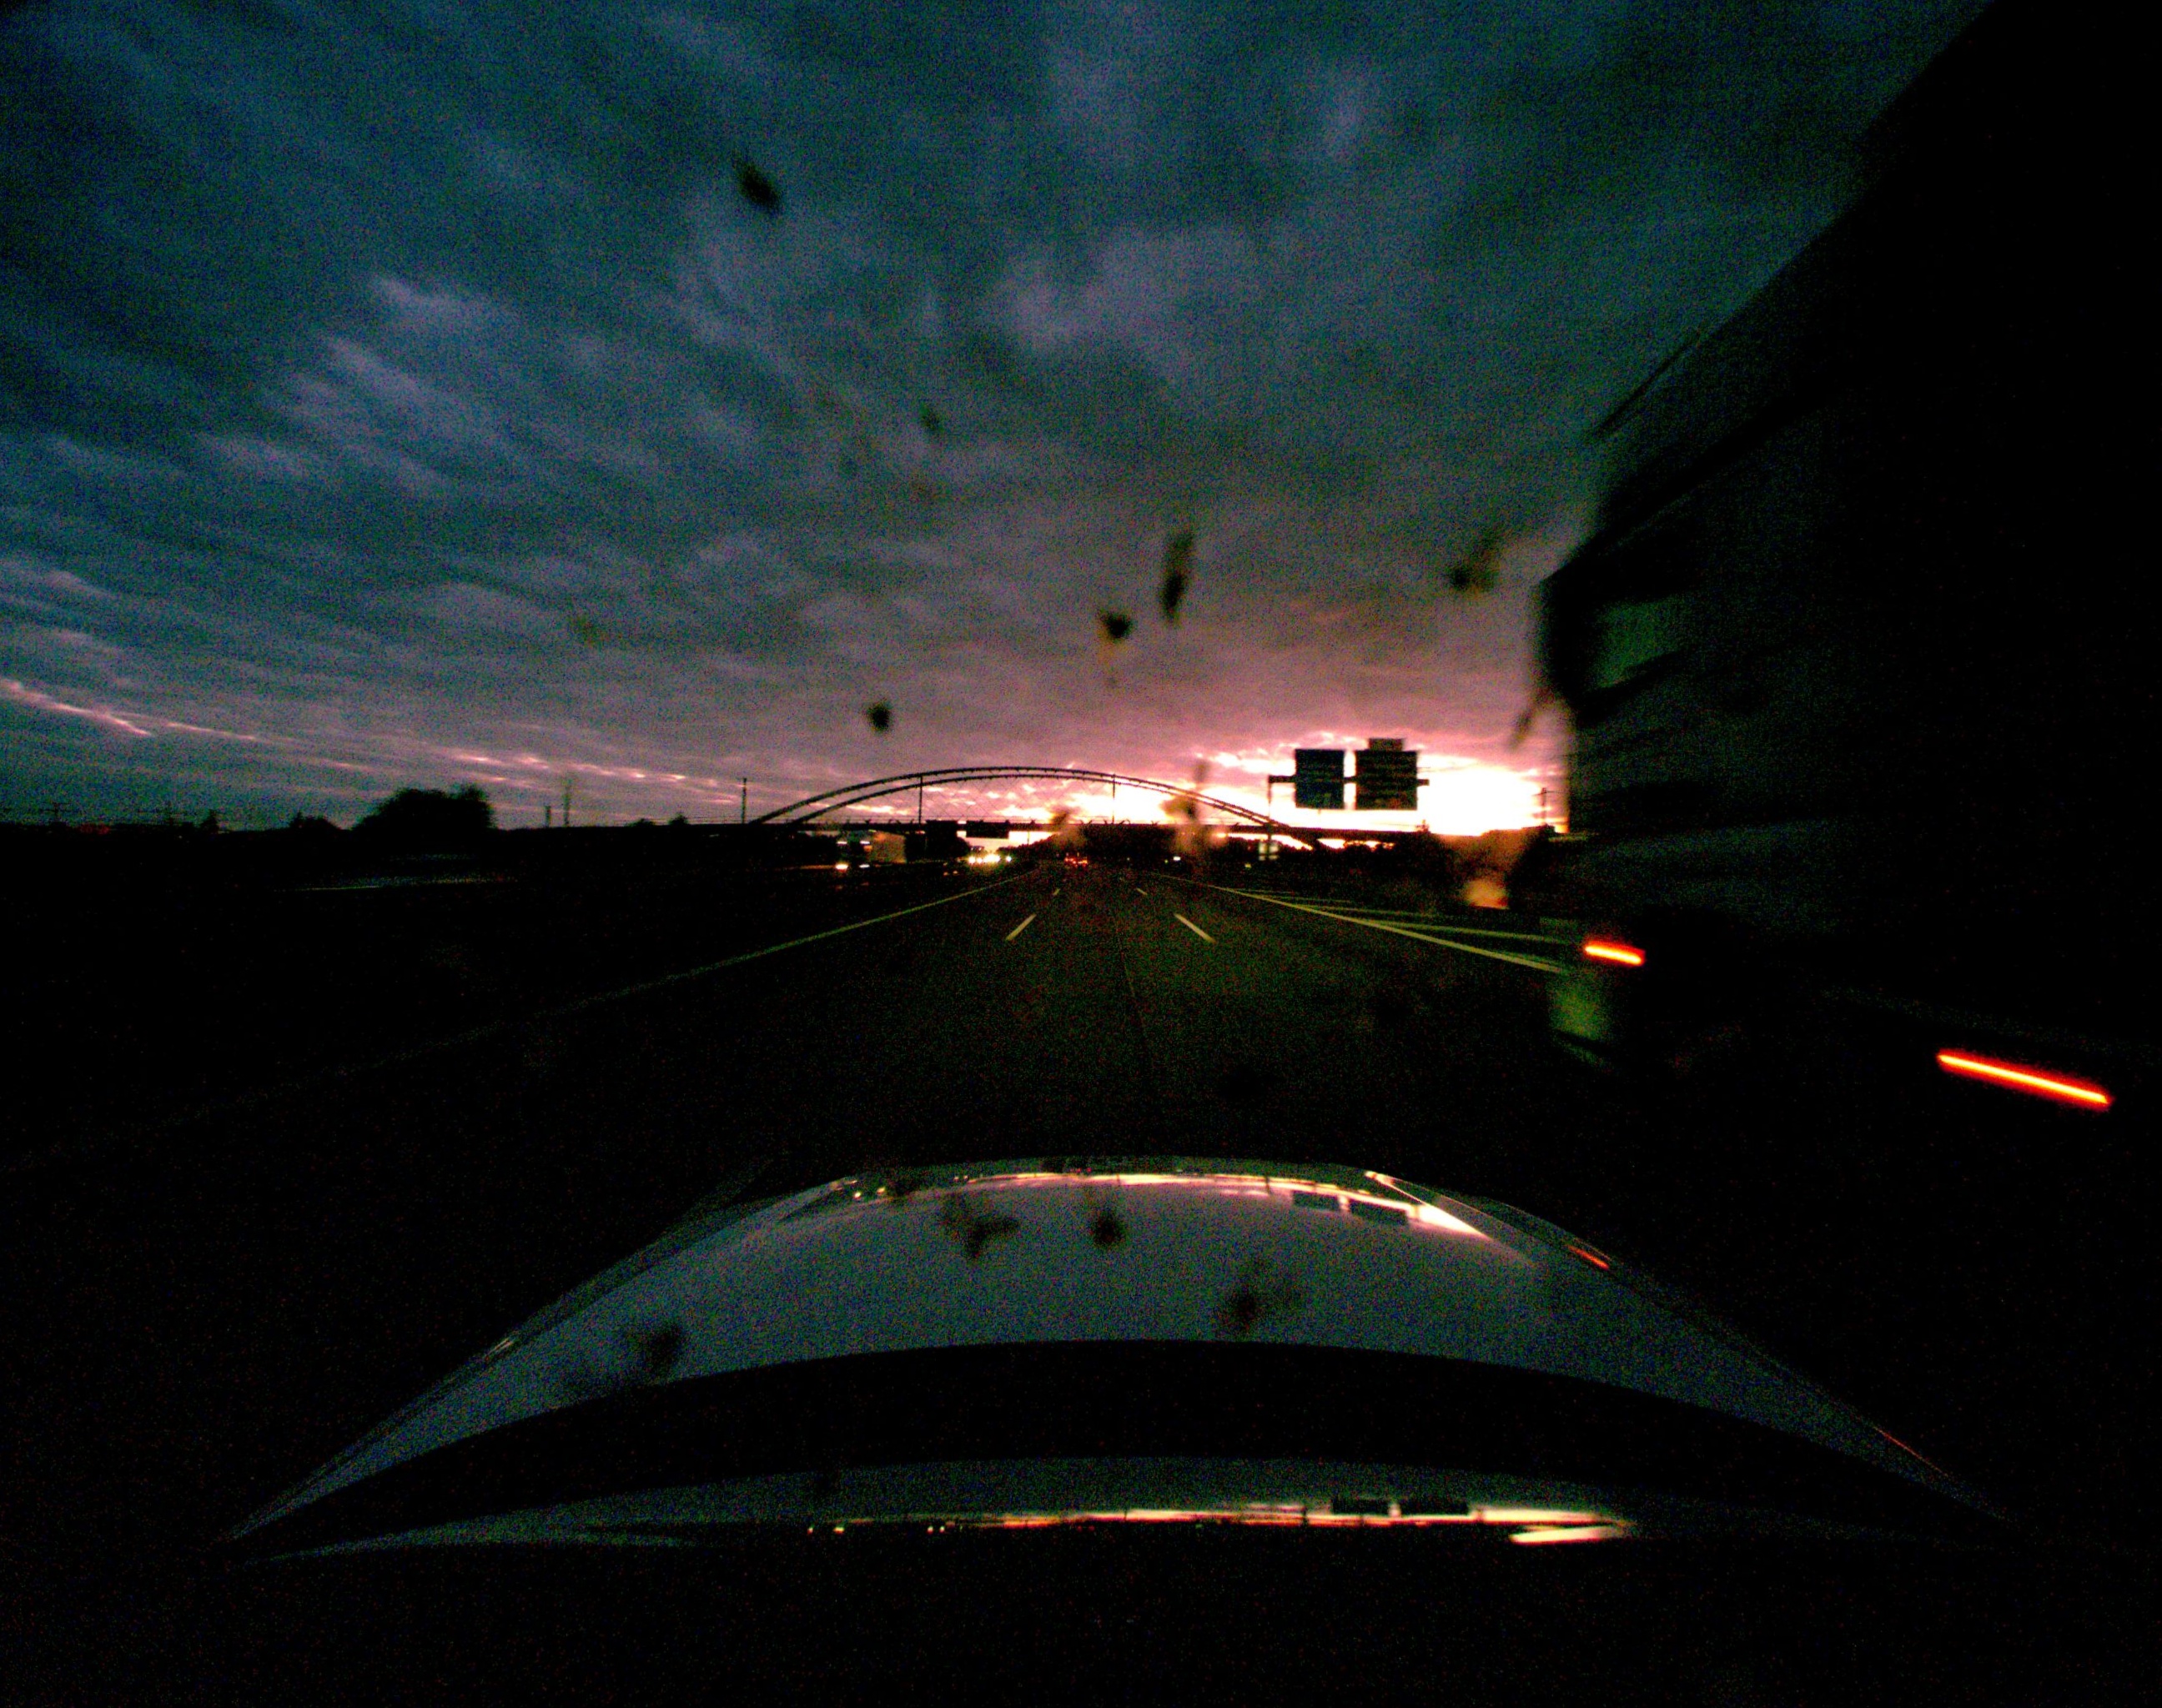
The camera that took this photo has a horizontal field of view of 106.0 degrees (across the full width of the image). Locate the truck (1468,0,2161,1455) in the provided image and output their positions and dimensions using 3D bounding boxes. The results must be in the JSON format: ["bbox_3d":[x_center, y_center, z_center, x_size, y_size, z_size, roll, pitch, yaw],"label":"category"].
[{"bbox_3d":[3.876,-0.603,0.325,2.680,4.071,10.523,-1,0,2],"label":"truck"}]

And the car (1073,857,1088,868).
[{"bbox_3d":[-0.063,1.076,101.289,1.685,1.401,3.405,0,-2,-2],"label":"car"}]

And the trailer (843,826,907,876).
[{"bbox_3d":[-20.397,-0.281,81.862,2.816,4.507,14.622,-1,0,-1],"label":"trailer"}]

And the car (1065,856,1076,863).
[{"bbox_3d":[-2.085,1.091,163.145,1.681,1.401,3.413,-1,-2,5],"label":"car"}]

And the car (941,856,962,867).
[{"bbox_3d":[-17.306,1.042,108.935,1.987,1.404,4.329,-1,0,0],"label":"car"}]

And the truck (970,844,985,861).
[{"bbox_3d":[-25.805,-0.342,202.952,2.819,4.048,12.198,-1,0,-4],"label":"truck"}]

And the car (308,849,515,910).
[{"bbox_3d":[-19.728,0.686,24.355,1.985,1.625,4.848,-1,0,3],"label":"car"}]

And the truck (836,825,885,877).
[{"bbox_3d":[-20.281,-0.272,75.128,2.816,4.507,6.242,-1,0,-1],"label":"truck"}]
